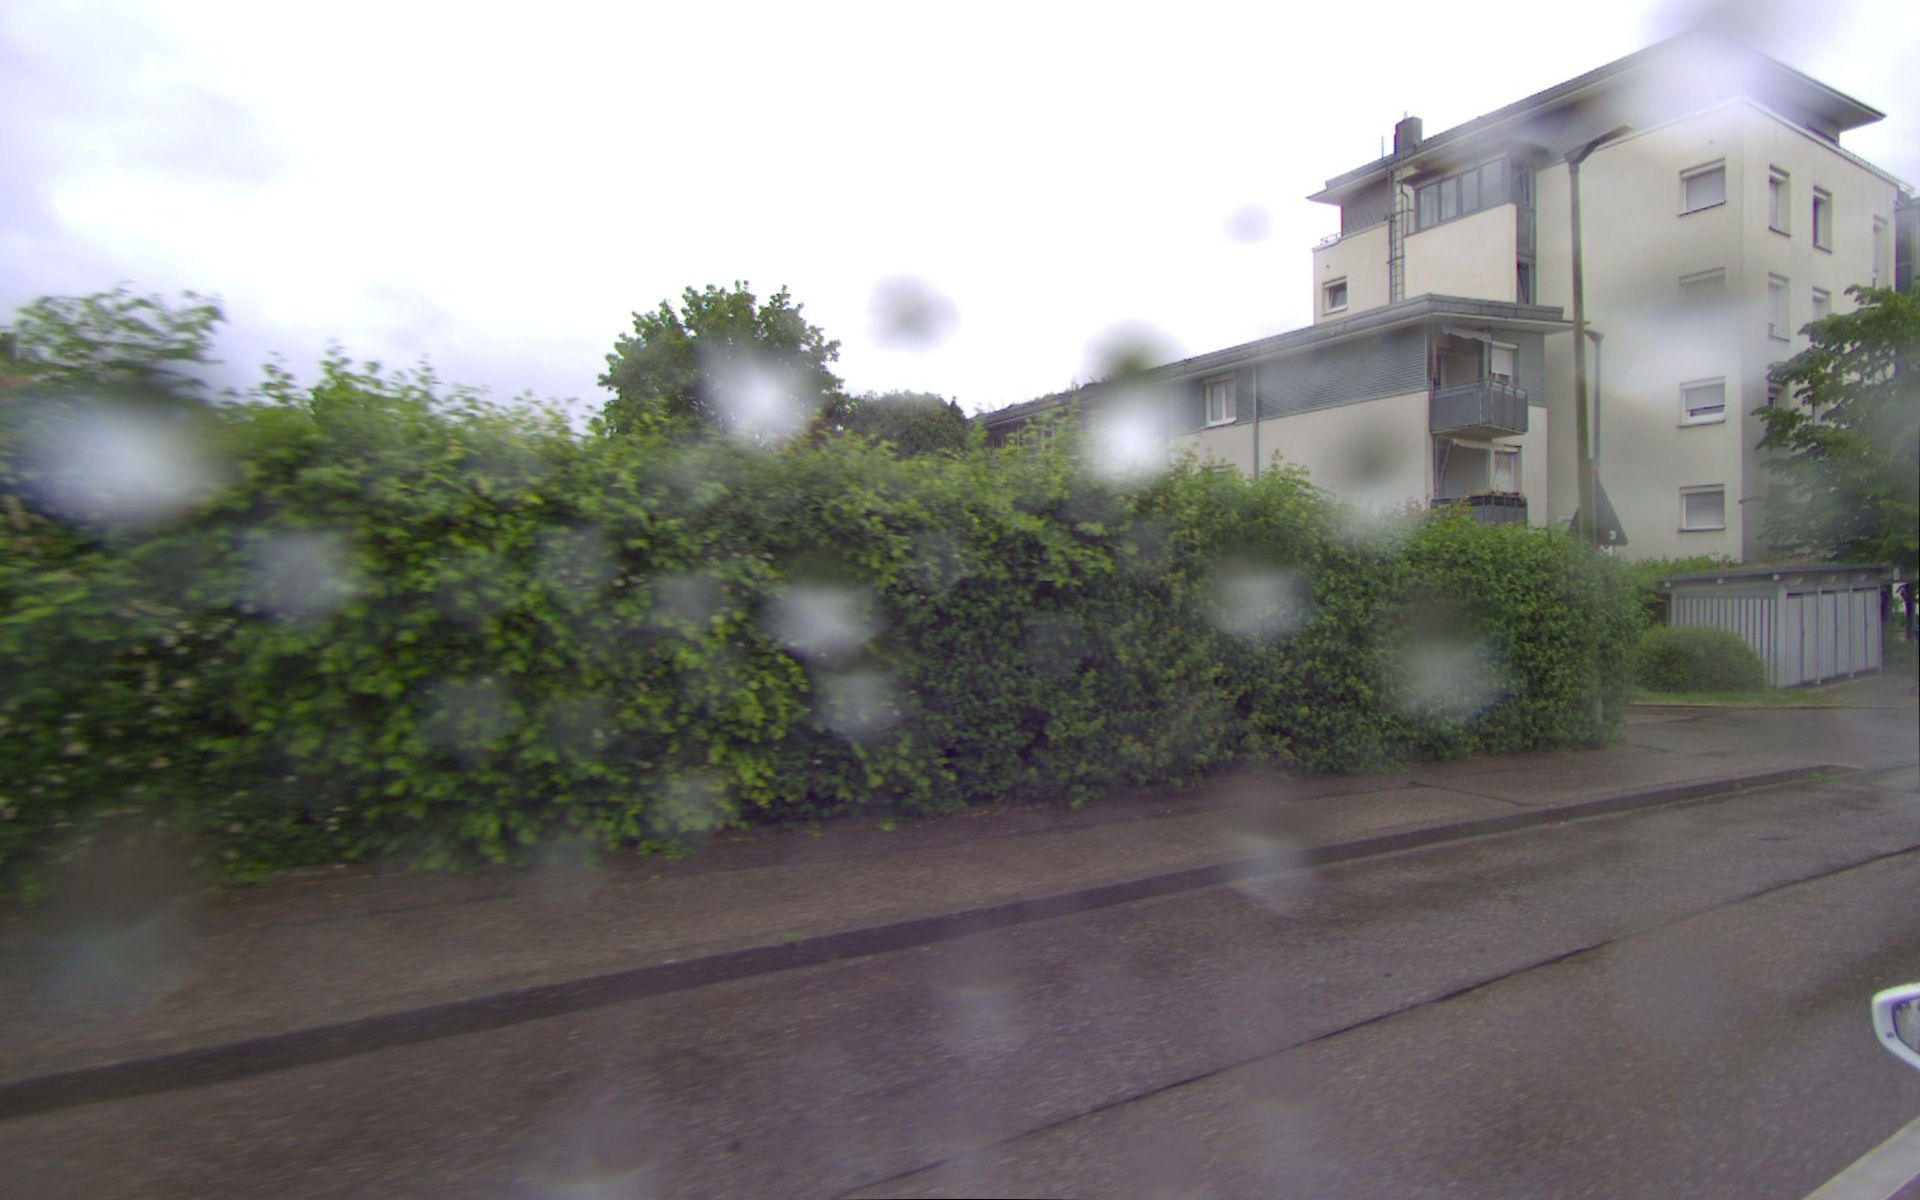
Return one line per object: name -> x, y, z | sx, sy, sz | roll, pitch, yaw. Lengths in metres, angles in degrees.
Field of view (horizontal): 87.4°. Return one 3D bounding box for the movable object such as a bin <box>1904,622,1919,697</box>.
movable object such as a bin -> 18.305, 1.123, 18.457 | 1.304, 1.365, 1.065 | 1, 1, -32
